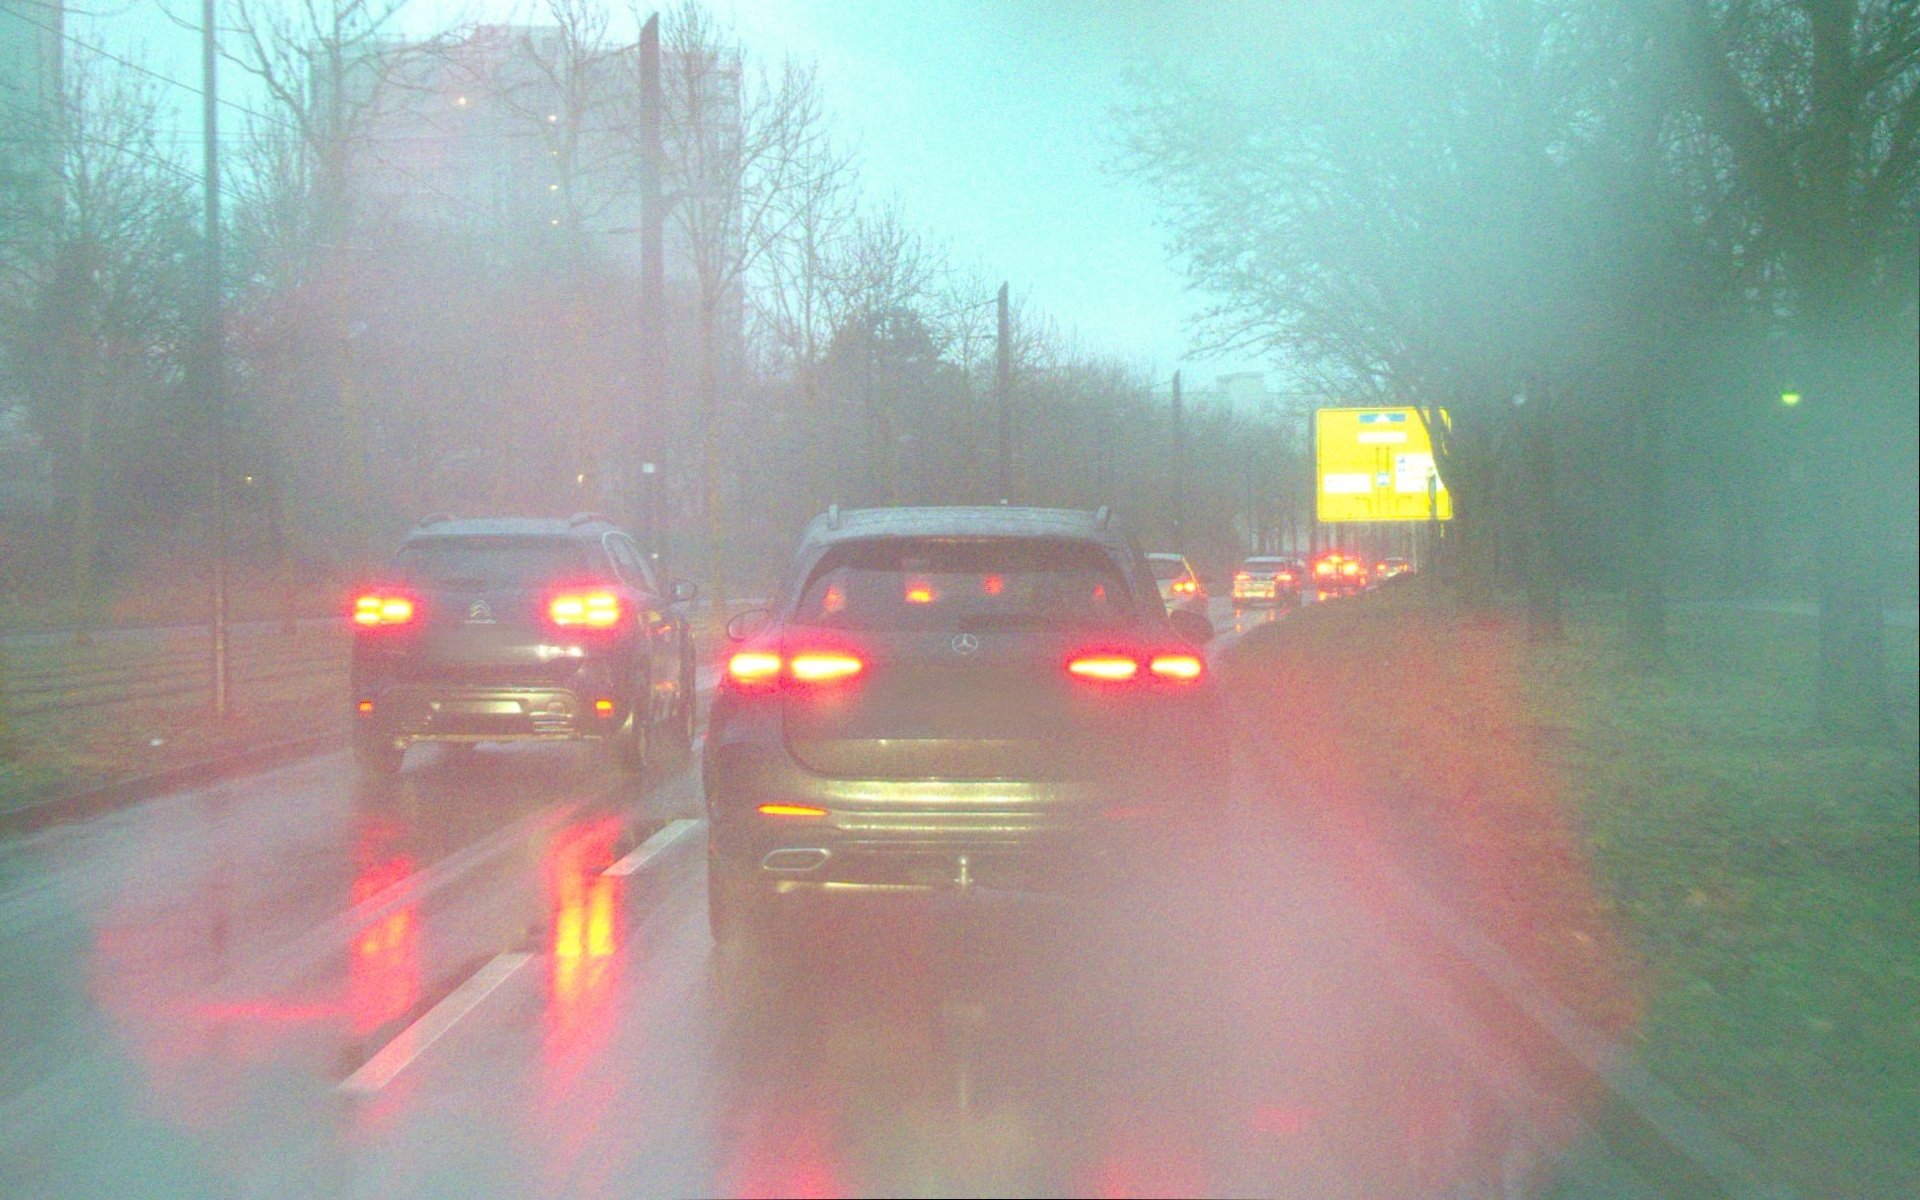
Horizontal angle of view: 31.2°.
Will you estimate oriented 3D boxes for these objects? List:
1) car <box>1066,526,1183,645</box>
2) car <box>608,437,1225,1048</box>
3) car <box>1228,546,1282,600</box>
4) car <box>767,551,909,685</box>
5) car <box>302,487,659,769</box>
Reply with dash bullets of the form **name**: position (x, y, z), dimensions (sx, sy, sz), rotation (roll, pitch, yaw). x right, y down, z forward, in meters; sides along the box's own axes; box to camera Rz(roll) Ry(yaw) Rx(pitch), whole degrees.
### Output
- **car**: position (2.753, -0.215, 57.239), dimensions (1.857, 1.885, 3.999), rotation (1, -1, 3)
- **car**: position (-0.124, 0.481, 13.260), dimensions (1.993, 1.969, 4.068), rotation (1, -1, 1)
- **car**: position (8.671, -0.781, 100.836), dimensions (1.535, 1.508, 3.342), rotation (1, -1, 6)
- **car**: position (-1.715, 0.212, 47.197), dimensions (1.827, 1.733, 3.806), rotation (1, 1, -4)
- **car**: position (-3.130, 0.192, 23.268), dimensions (1.993, 1.706, 4.325), rotation (1, -1, -3)
